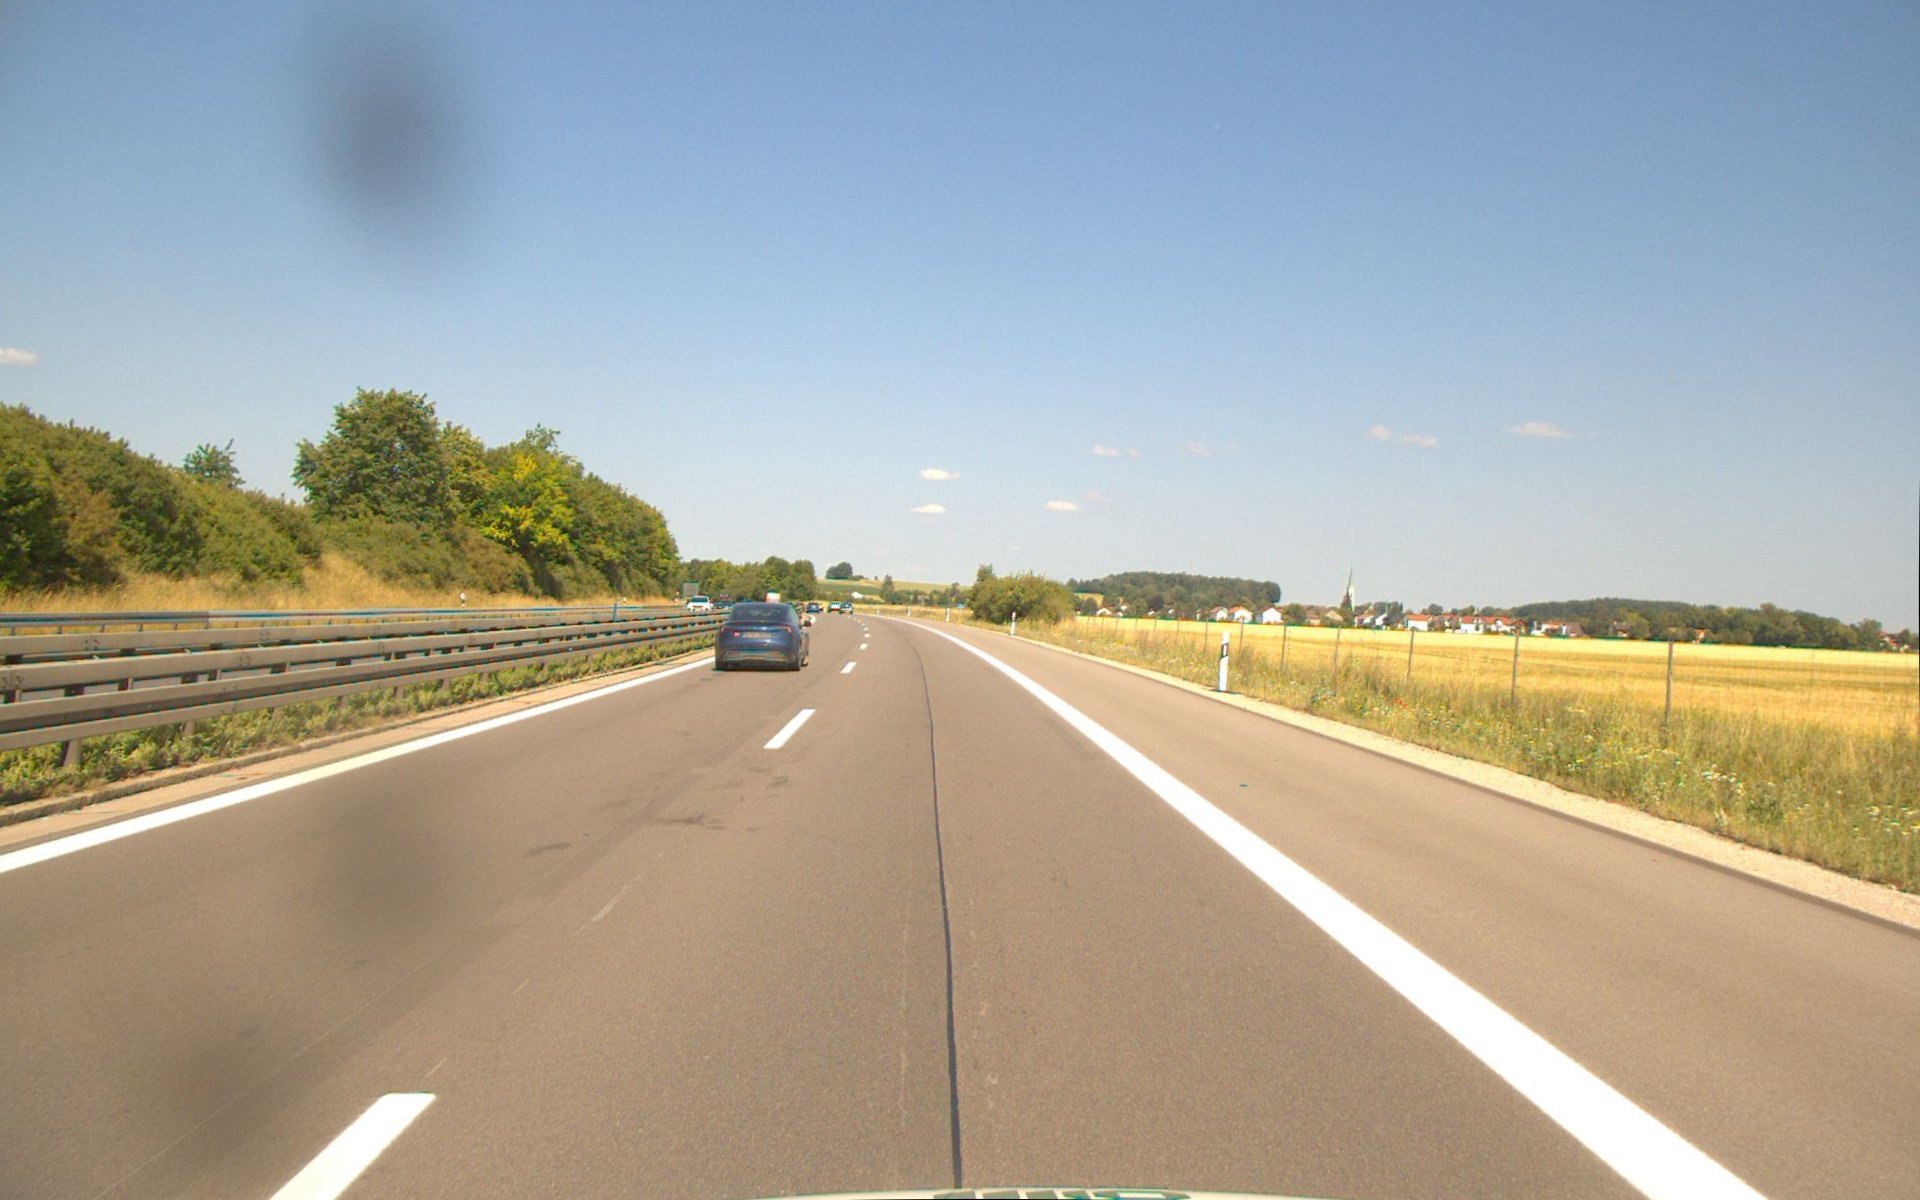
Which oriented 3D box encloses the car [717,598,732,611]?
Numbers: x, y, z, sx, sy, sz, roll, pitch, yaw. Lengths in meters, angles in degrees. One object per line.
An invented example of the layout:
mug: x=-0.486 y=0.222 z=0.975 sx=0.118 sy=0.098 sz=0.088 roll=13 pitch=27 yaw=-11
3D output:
car: x=-26.907 y=0.498 z=189.006 sx=1.547 sy=1.487 sz=4.148 roll=2 pitch=0 yaw=-5

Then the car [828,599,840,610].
car: x=-18.813 y=0.663 z=247.293 sx=1.644 sy=1.479 sz=3.587 roll=1 pitch=0 yaw=-6

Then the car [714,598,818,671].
car: x=-4.279 y=0.710 z=37.278 sx=1.810 sy=1.458 sz=5.863 roll=1 pitch=0 yaw=-2

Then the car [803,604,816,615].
car: x=-20.070 y=1.270 z=221.200 sx=1.643 sy=1.479 sz=3.588 roll=1 pitch=0 yaw=-5

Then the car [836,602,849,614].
car: x=-14.940 y=0.962 z=210.246 sx=1.643 sy=1.479 sz=3.588 roll=1 pitch=0 yaw=-4

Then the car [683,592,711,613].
car: x=-21.201 y=0.219 z=133.255 sx=1.716 sy=1.592 sz=4.577 roll=2 pitch=0 yaw=-3
